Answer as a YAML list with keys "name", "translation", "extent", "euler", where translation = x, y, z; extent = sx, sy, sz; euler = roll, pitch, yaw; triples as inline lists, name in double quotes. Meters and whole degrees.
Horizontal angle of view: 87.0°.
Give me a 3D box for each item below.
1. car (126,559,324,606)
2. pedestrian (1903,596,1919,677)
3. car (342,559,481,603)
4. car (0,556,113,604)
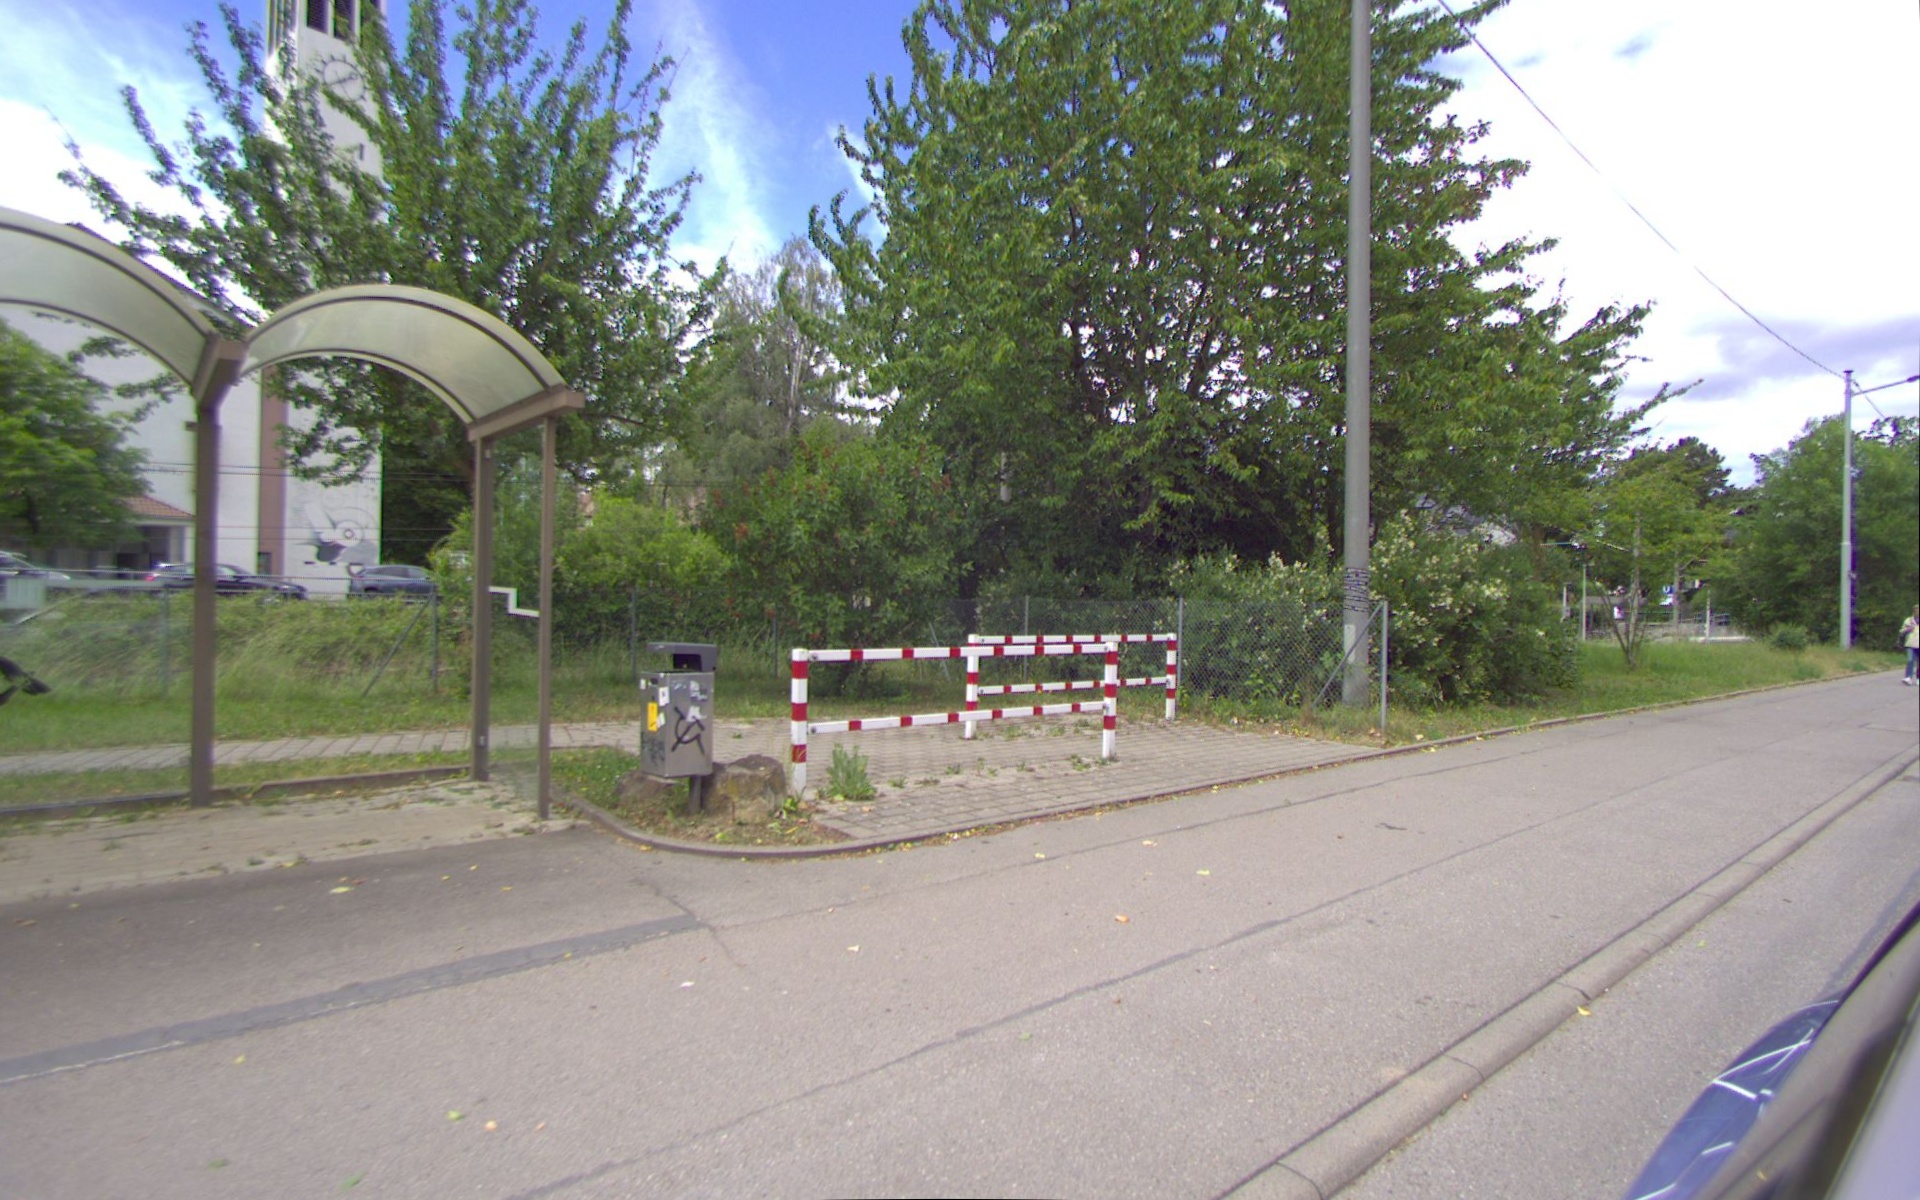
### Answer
- name: "car"
  translation: [-23.050, -0.554, 31.975]
  extent: [4.723, 1.348, 2.004]
  euler: [1, 1, -24]
- name: "pedestrian"
  translation: [20.242, 0.766, 21.126]
  extent: [0.677, 1.680, 0.688]
  euler: [1, -1, -34]
- name: "car"
  translation: [-18.240, -0.644, 33.886]
  extent: [3.916, 1.348, 2.004]
  euler: [1, 1, -24]
- name: "car"
  translation: [-28.154, -0.624, 29.888]
  extent: [4.383, 1.348, 2.005]
  euler: [1, 1, -22]
